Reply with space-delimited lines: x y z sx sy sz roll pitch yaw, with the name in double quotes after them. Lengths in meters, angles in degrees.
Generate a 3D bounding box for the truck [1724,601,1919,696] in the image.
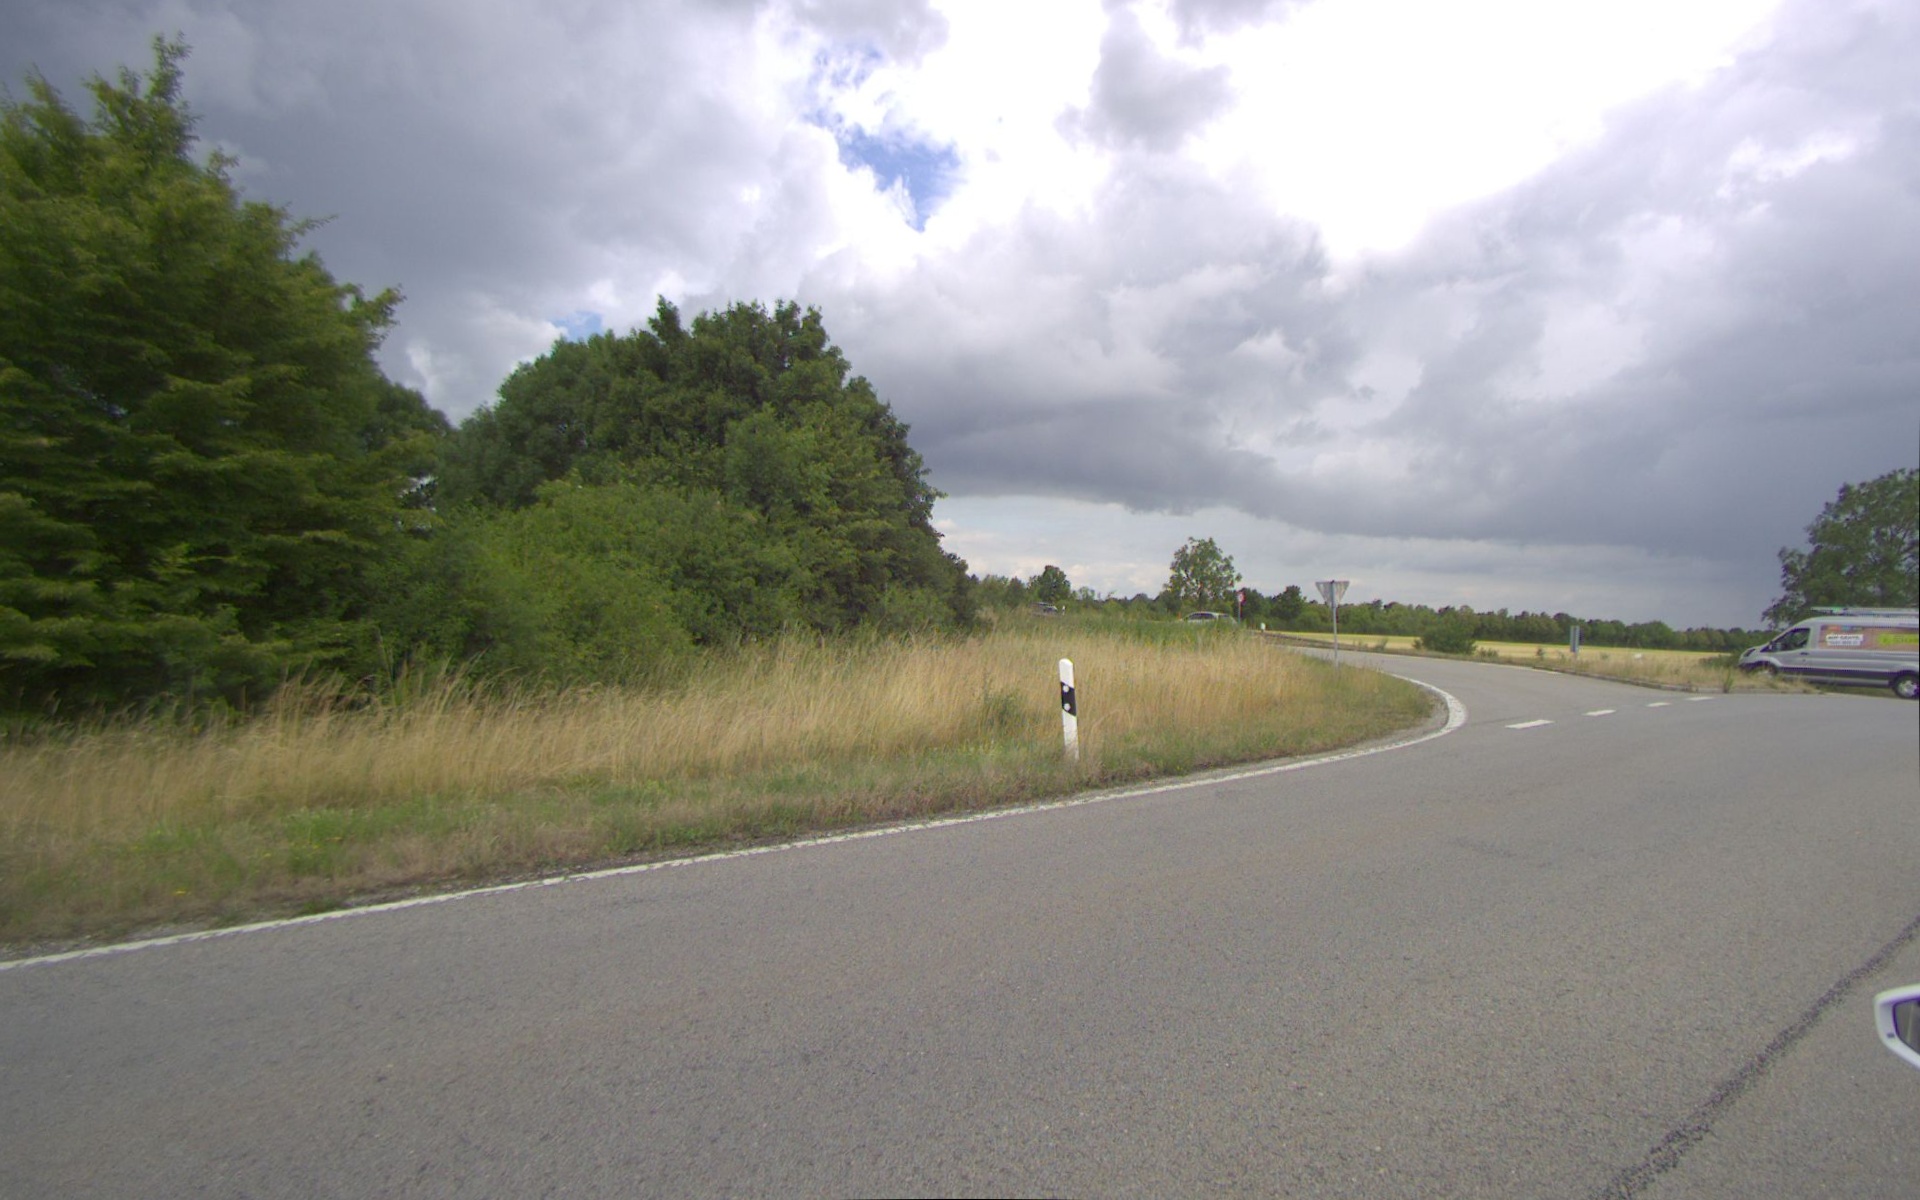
28.283 1.468 31.972 2.040 2.739 6.002 2 0 -27 "truck"

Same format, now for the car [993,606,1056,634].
4.192 1.299 65.834 1.983 1.684 3.956 2 0 -38 "car"

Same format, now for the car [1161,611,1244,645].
12.967 1.499 53.900 1.983 1.684 3.956 2 0 -38 "car"
